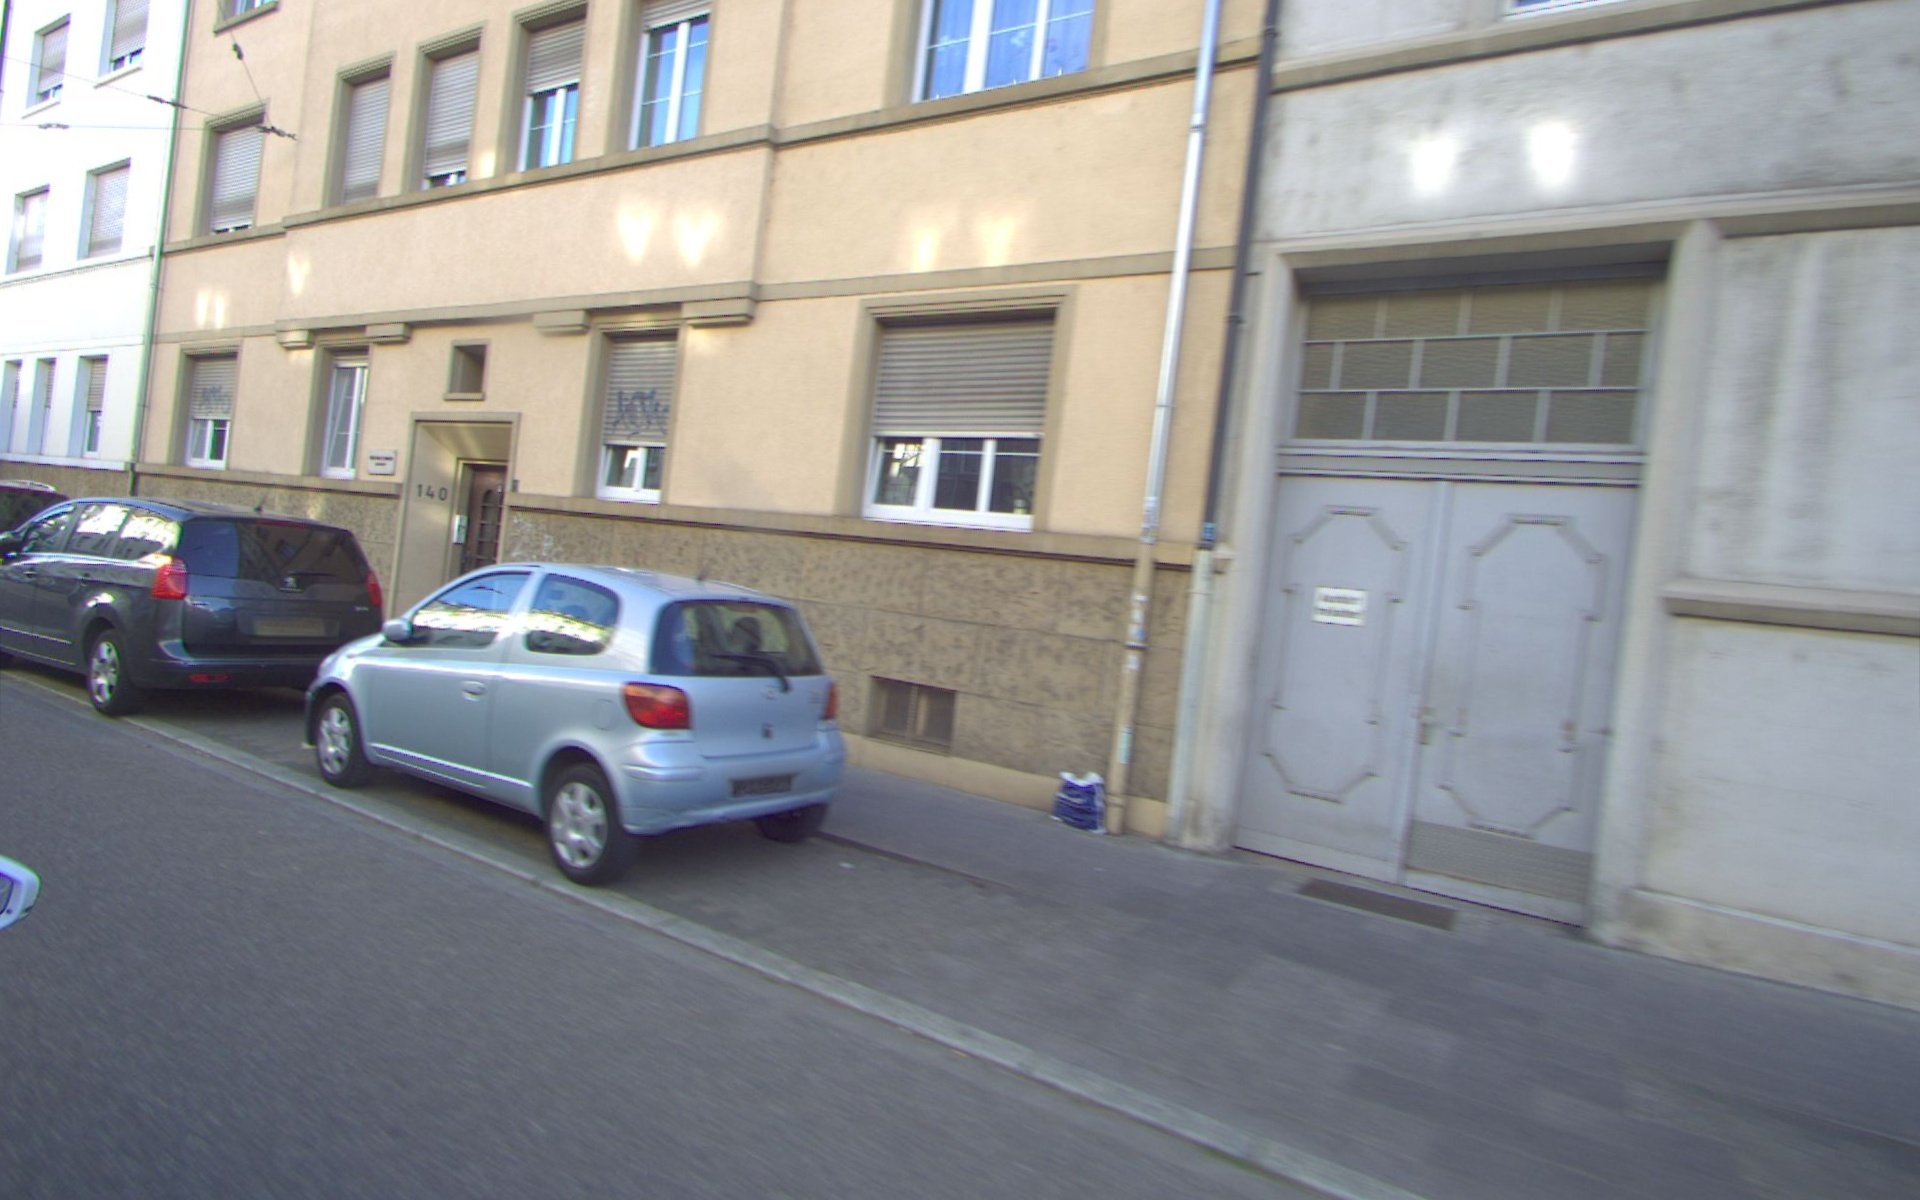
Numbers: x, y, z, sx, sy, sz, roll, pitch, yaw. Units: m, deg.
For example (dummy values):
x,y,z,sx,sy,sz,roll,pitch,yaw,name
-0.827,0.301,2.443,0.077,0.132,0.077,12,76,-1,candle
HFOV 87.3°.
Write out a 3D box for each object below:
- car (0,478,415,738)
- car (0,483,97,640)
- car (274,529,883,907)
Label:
x,y,z,sx,sy,sz,roll,pitch,yaw,name
-6.933,-0.050,8.743,4.292,1.672,1.792,7,1,30,car
-11.904,-0.624,11.557,4.174,1.629,1.594,7,1,29,car
-2.380,0.512,6.071,3.422,1.481,1.610,7,1,32,car
